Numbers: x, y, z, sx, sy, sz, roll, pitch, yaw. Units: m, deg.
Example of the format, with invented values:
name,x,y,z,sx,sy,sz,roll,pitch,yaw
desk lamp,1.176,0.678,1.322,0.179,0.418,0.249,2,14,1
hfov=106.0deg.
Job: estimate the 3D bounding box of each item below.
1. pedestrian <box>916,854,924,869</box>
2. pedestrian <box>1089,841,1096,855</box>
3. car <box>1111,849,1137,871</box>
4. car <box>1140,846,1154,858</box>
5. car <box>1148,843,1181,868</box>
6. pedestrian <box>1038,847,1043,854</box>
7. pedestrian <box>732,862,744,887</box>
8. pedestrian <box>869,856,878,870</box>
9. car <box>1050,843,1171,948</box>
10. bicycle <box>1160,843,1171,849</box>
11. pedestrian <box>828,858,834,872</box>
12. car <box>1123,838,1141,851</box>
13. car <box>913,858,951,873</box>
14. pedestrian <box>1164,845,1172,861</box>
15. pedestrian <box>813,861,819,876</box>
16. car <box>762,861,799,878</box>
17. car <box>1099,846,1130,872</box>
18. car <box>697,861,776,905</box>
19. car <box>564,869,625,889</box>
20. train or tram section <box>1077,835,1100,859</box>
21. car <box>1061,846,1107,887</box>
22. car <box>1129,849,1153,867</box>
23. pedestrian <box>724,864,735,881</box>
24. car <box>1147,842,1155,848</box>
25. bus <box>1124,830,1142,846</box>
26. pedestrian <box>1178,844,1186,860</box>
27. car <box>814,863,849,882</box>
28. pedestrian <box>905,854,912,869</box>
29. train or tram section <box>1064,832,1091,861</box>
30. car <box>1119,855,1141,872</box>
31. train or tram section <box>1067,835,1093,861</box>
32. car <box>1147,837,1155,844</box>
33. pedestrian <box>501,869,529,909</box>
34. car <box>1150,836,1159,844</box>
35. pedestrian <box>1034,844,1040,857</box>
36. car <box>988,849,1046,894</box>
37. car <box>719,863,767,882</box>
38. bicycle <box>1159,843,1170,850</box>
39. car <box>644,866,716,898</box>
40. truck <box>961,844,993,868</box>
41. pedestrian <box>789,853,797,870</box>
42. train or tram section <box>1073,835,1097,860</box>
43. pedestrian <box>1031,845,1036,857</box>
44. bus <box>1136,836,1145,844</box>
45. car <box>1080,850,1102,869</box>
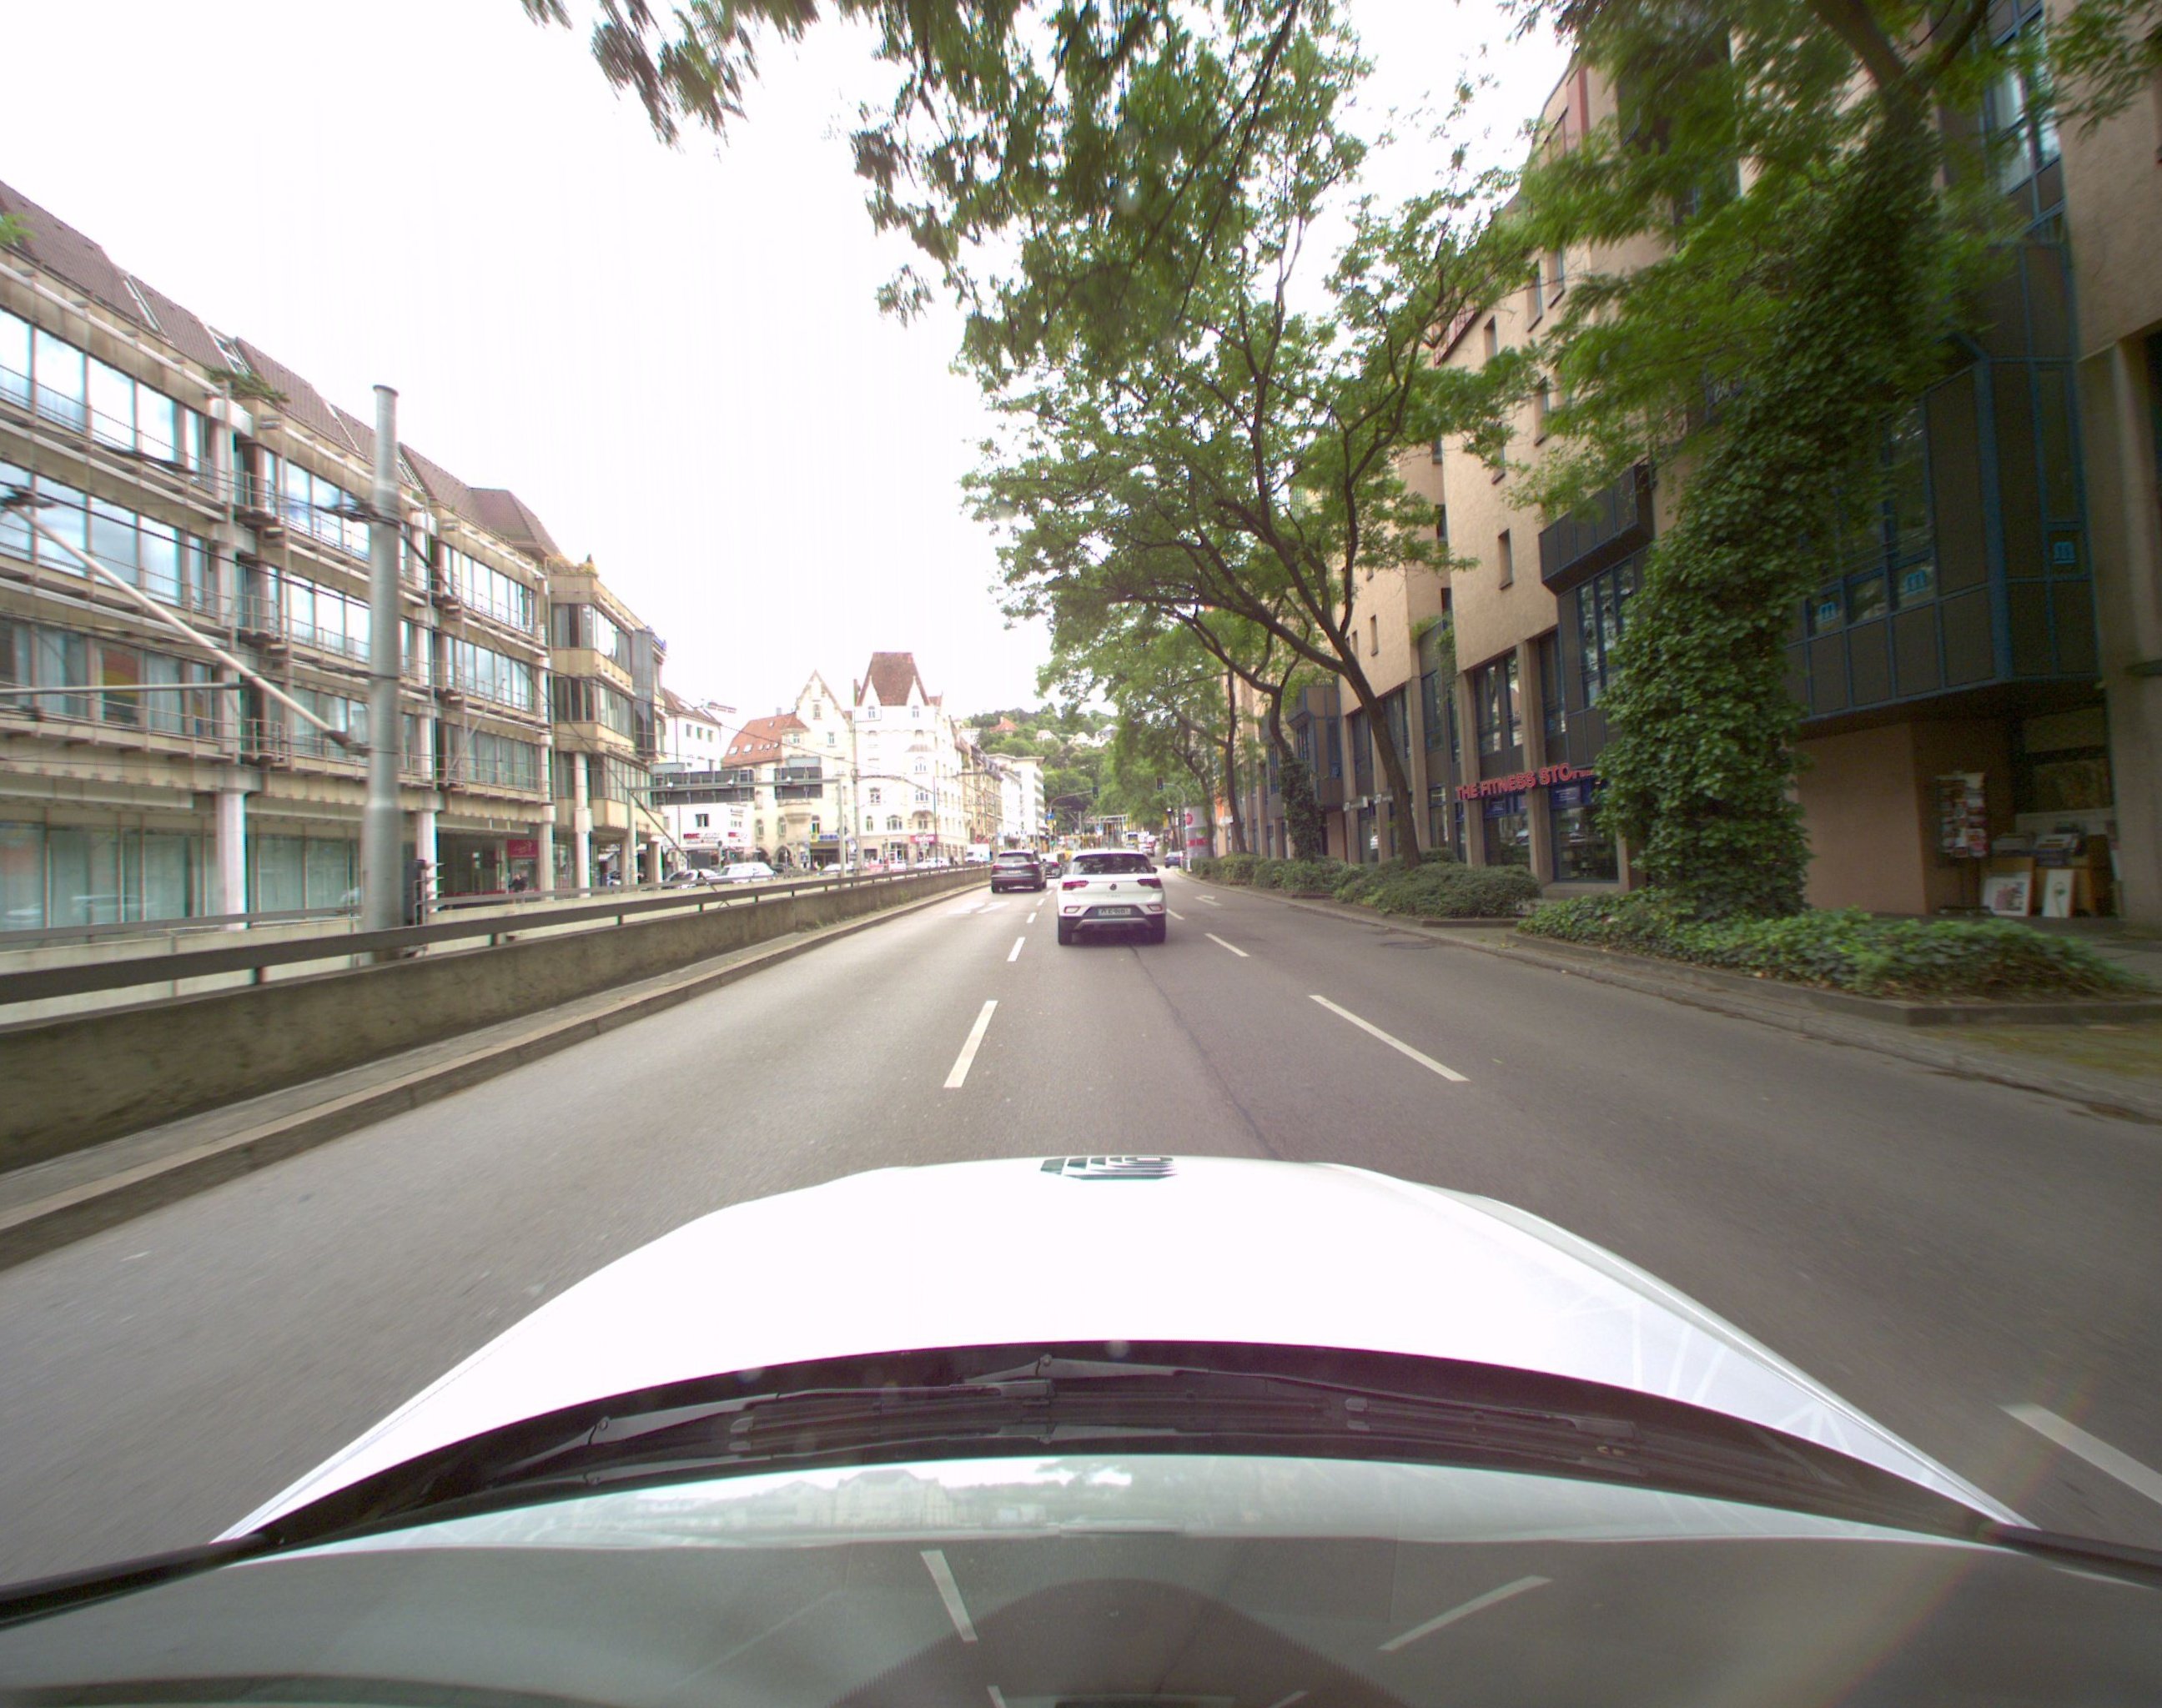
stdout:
name,x,y,z,sx,sy,sz,roll,pitch,yaw
pedestrian,-19.151,0.910,96.866,0.703,1.780,0.599,-2,0,21
pedestrian,1.448,-0.764,102.450,0.682,1.711,0.713,-2,1,5
car,4.203,0.591,78.550,2.353,2.013,5.155,-1,0,5
car,9.673,-0.301,118.534,1.875,1.684,4.168,-1,0,6
car,7.240,0.135,70.876,2.356,2.013,5.148,-1,0,1
pedestrian,-5.847,-0.508,117.553,0.632,1.107,0.691,-2,1,5
pedestrian,-24.833,1.483,58.903,0.507,1.780,0.578,-2,0,8
pedestrian,-24.927,1.067,97.793,0.777,1.705,0.655,-2,0,11
car,0.432,0.644,14.694,1.832,1.584,4.155,-1,0,-1
bicycle,16.250,-1.505,156.564,1.868,1.137,0.811,-1,0,11
pedestrian,-31.267,1.395,101.848,0.575,1.780,0.510,-2,0,-8
car,8.497,-1.618,135.043,2.351,2.013,5.161,-1,0,9
car,-17.018,1.298,93.050,1.732,1.560,4.542,-1,0,30
pedestrian,10.394,-0.139,97.397,0.690,1.777,0.690,-7,0,1
pedestrian,-32.023,1.700,98.559,0.578,1.780,0.507,-2,0,-26
car,-35.108,1.772,95.238,3.739,1.684,1.645,-4,0,20
car,2.267,0.320,55.914,1.879,1.684,4.159,-1,0,-1
car,-15.792,1.296,37.590,1.829,1.842,4.599,1,0,-3
car,-41.080,2.130,68.823,3.987,1.530,1.944,-1,0,-10
train or tram section,1.201,-1.083,123.748,2.820,3.520,5.762,-1,1,6
car,0.109,0.518,35.994,1.879,1.684,4.159,-1,0,-1
car,6.817,0.436,92.699,2.356,2.013,5.148,-1,0,1
pedestrian,-35.386,1.854,82.019,0.777,1.705,0.655,-2,0,11
car,13.847,-1.832,161.101,1.574,1.172,3.684,-1,0,5
bus,11.051,-3.294,171.056,3.355,3.064,13.345,-1,0,5
pedestrian,11.873,-0.184,96.006,0.718,1.802,0.835,-4,2,1
car,-21.402,1.571,70.059,1.658,1.501,4.044,-2,0,1
pedestrian,-20.335,0.916,96.002,0.571,1.780,0.513,-2,0,10
train or tram section,-0.360,-0.963,106.484,2.820,3.678,5.762,-1,1,6
car,4.490,0.848,74.117,1.936,1.530,4.004,-1,0,3
train or tram section,-0.072,-0.833,112.261,2.820,3.520,5.762,-1,1,6
car,16.715,-3.275,194.156,1.665,1.560,3.684,-1,0,5
pedestrian,-26.397,1.631,37.990,0.728,1.811,0.740,-1,0,0
car,19.023,-3.586,210.310,1.986,2.013,4.002,-1,0,2
pedestrian,-5.857,-0.499,109.202,0.623,1.762,0.848,-2,0,7
car,-2.522,0.645,32.937,1.987,1.636,3.999,-2,0,0
car,-31.820,1.727,76.838,4.043,1.501,1.658,-2,0,-20
bicycle,15.932,-1.444,155.092,1.866,1.266,0.768,-1,0,16
car,-22.263,1.523,45.427,1.658,1.501,4.414,-2,0,1
truck,-13.857,0.211,109.099,2.254,3.076,7.390,-1,0,8
pedestrian,-30.534,0.753,86.340,0.569,1.780,0.515,-2,0,32
train or tram section,0.551,-0.920,117.993,2.820,3.520,5.762,-1,1,6
pedestrian,-6.647,-0.430,113.252,0.634,1.711,0.689,-2,1,-3
bus,14.905,-3.469,205.204,1.986,2.013,4.000,-1,0,1
car,0.876,0.494,73.128,1.879,1.684,4.159,-1,0,-1
